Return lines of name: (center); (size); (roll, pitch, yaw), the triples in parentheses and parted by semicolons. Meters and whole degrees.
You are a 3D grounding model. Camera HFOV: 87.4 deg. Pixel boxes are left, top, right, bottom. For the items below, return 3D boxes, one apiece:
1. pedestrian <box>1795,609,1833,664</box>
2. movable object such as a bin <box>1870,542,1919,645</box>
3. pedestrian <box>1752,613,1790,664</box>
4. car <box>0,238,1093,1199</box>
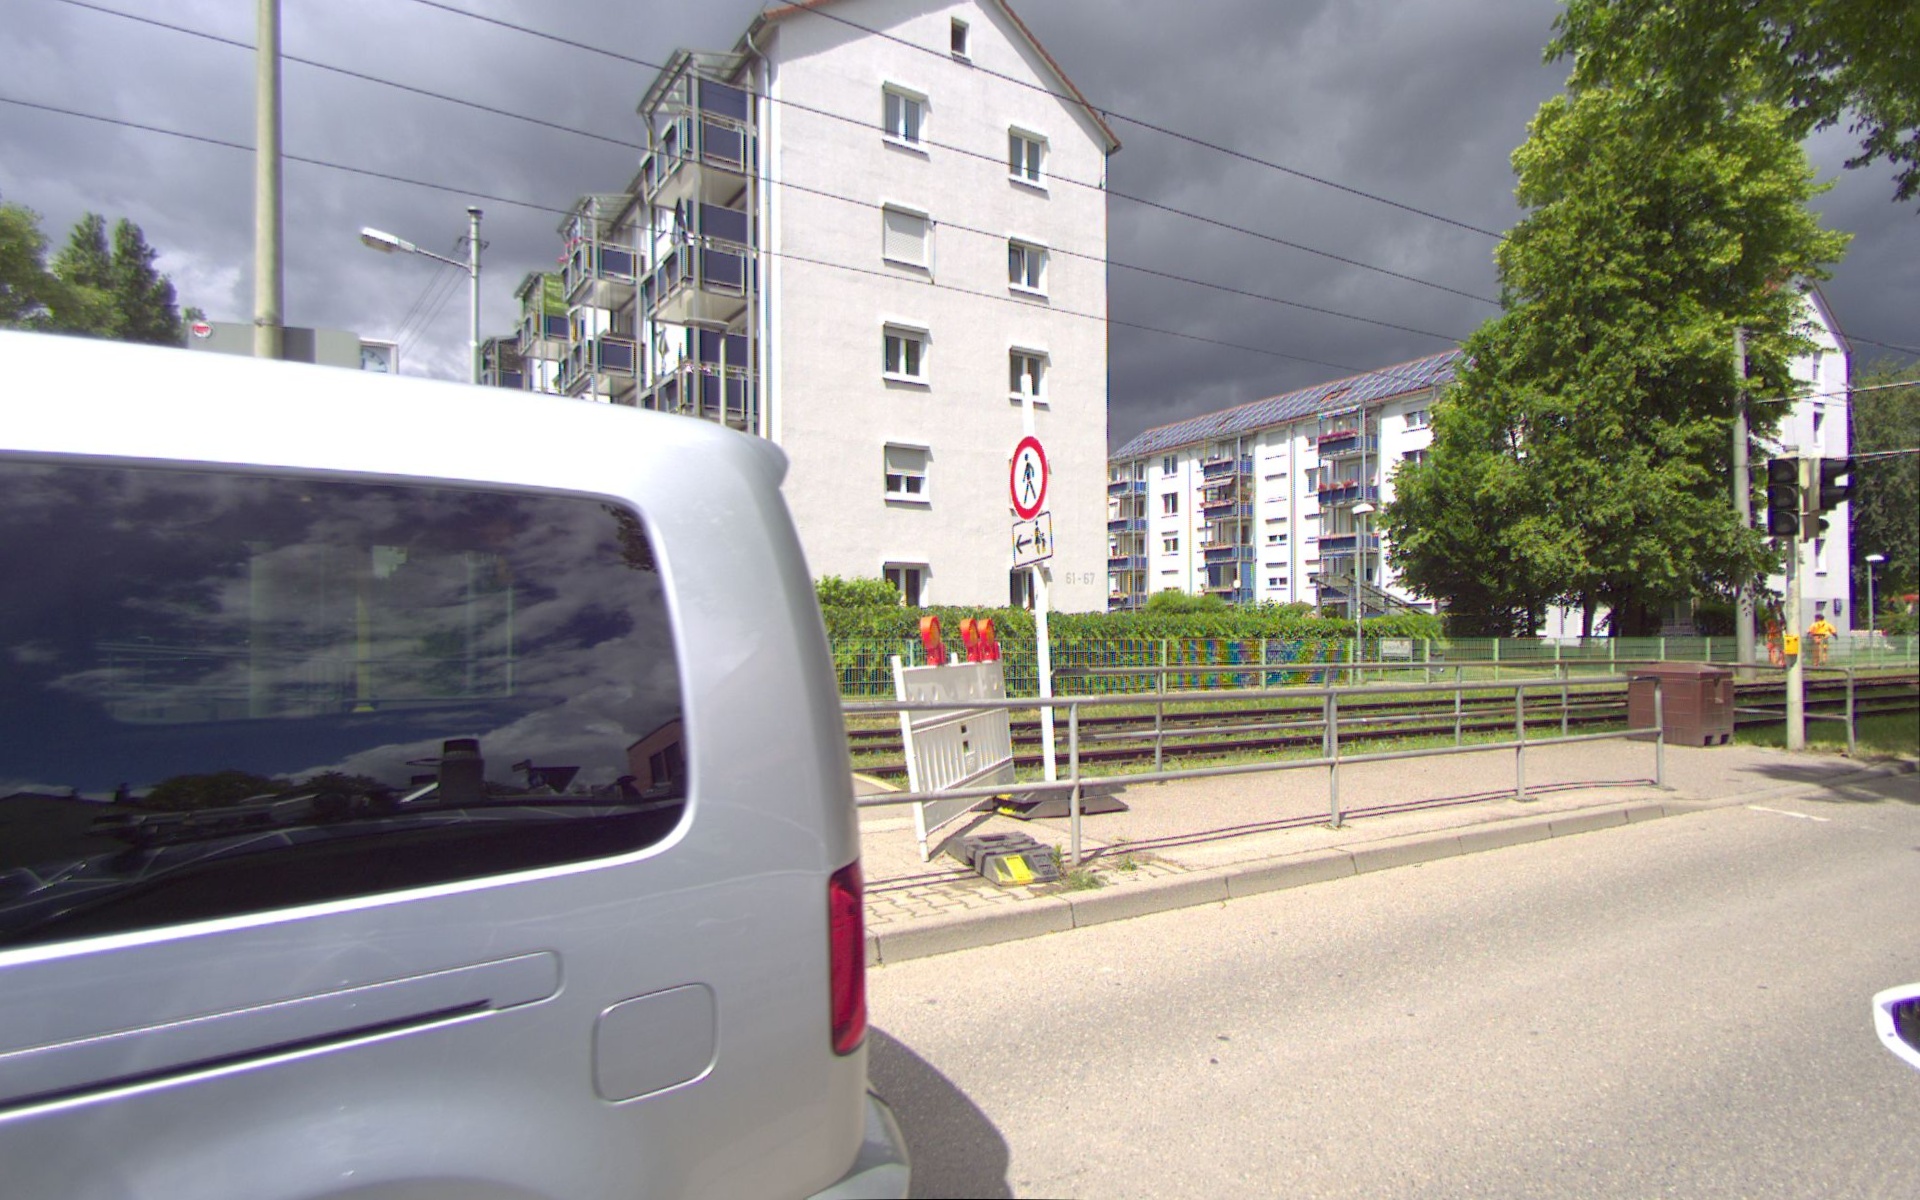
pedestrian: (27.768, 1.179, 32.662); (0.857, 1.741, 0.696); (1, 0, -30)
movable object such as a bin: (52.482, -0.354, 51.651); (2.612, 5.486, 9.228); (1, -1, -3)
pedestrian: (26.848, 1.260, 33.240); (0.857, 1.647, 0.728); (1, -1, -30)
car: (-2.166, 0.536, 1.328); (4.595, 1.865, 1.743); (1, 0, -32)
